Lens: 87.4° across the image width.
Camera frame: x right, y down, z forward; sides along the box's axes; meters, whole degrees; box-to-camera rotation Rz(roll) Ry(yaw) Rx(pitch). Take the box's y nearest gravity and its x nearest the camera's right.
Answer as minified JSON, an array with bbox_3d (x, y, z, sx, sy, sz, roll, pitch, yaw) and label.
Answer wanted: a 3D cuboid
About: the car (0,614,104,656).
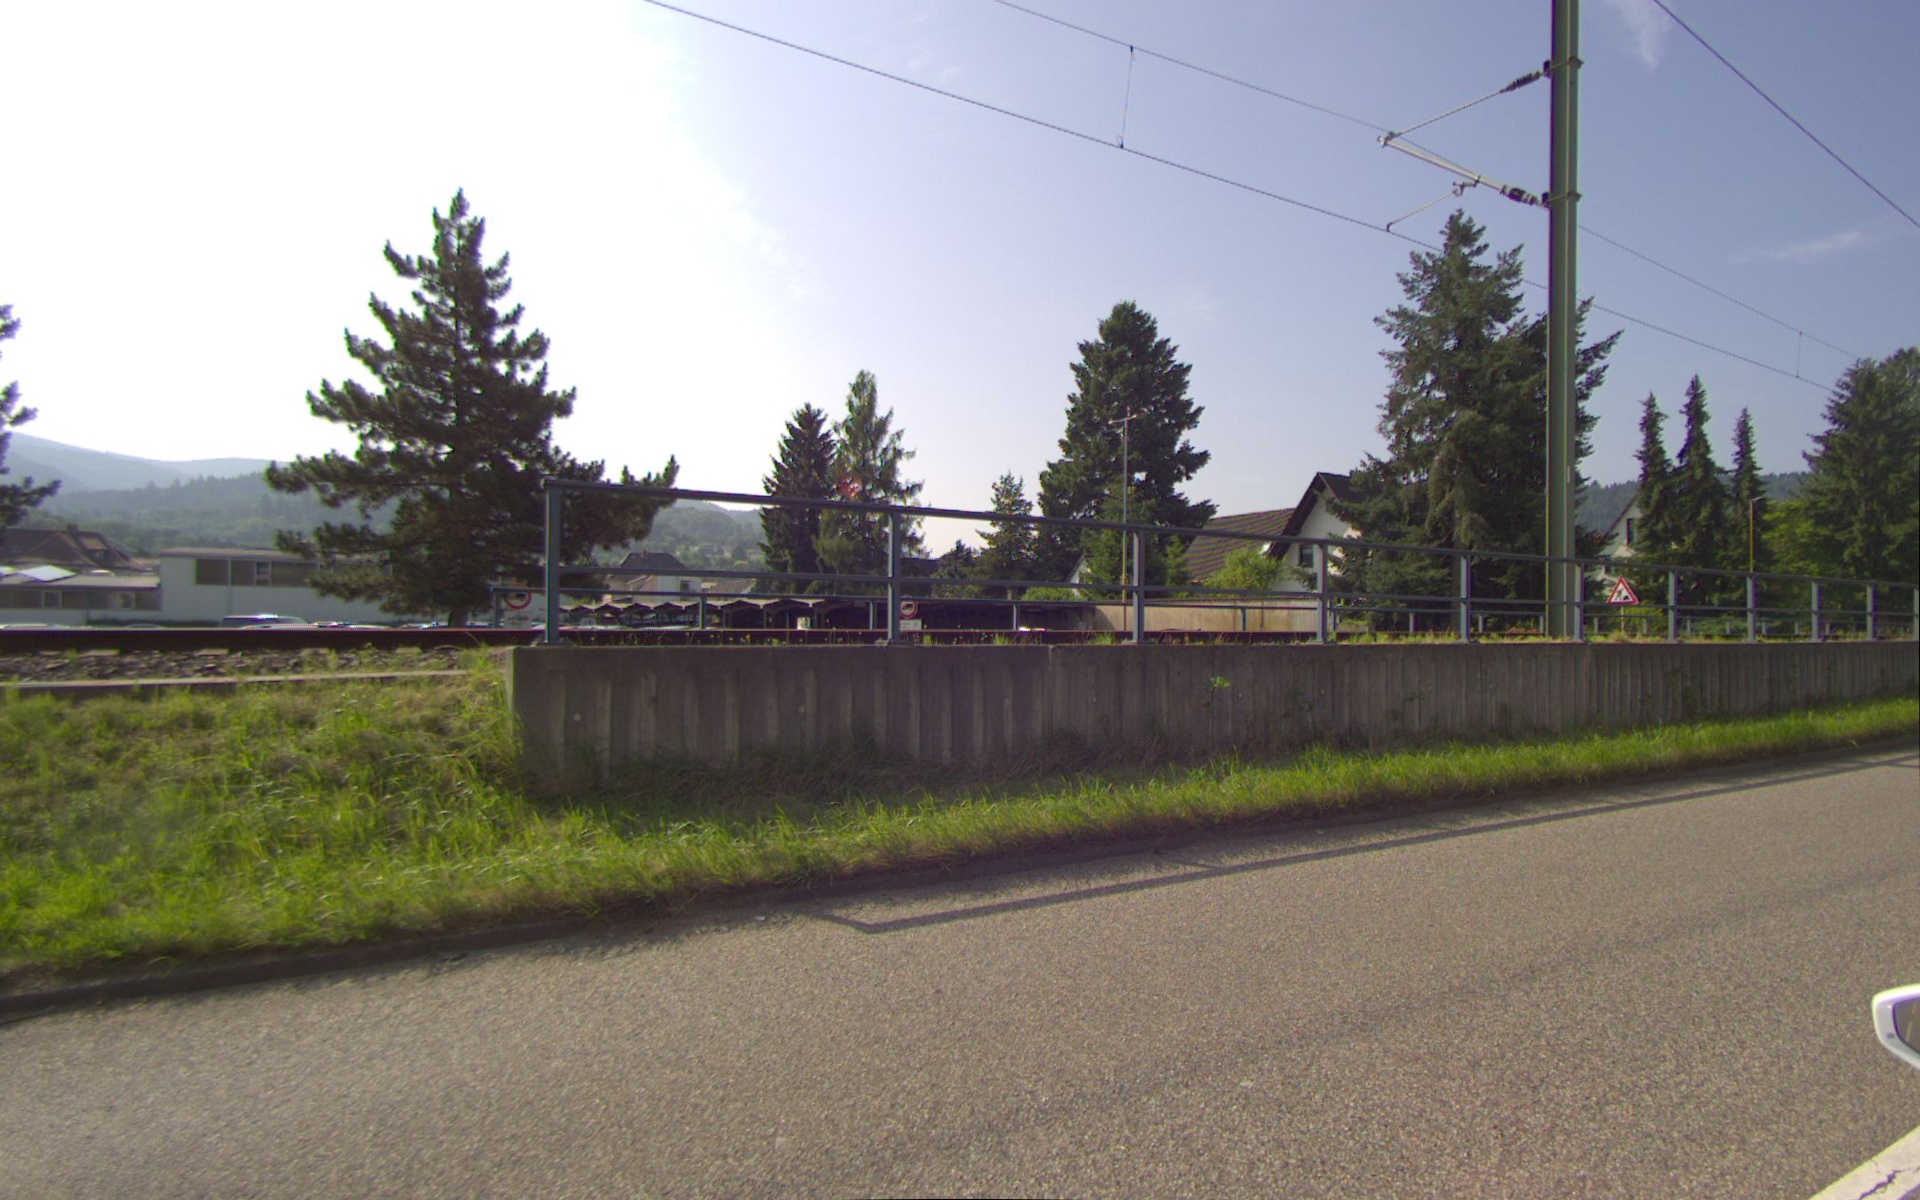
[{"bbox_3d":[-31.278,1.173,34.006,1.428,1.342,3.538,0,-2,3],"label":"car"}]

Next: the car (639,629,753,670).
[{"bbox_3d":[-9.065,1.702,34.593,3.465,1.342,1.458,0,-2,7],"label":"car"}]

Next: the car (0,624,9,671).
[{"bbox_3d":[-27.782,1.276,26.746,1.428,1.342,3.538,0,-2,2],"label":"car"}]

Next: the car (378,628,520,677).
[{"bbox_3d":[-15.011,1.529,29.564,3.465,1.342,1.458,0,-2,7],"label":"car"}]

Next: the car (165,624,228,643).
[{"bbox_3d":[-54.216,2.389,71.400,3.403,1.342,1.434,2,-2,-31],"label":"car"}]

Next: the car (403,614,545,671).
[{"bbox_3d":[-15.460,1.350,32.056,3.729,1.710,1.647,0,-2,6],"label":"car"}]

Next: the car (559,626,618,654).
[{"bbox_3d":[-18.917,2.019,51.116,3.488,1.342,1.449,-1,-3,44],"label":"car"}]

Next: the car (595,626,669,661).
[{"bbox_3d":[-13.202,1.729,40.335,1.447,1.342,3.491,2,-3,-43],"label":"car"}]

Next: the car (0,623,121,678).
[{"bbox_3d":[-23.859,1.267,25.875,1.428,1.342,3.538,0,-2,2],"label":"car"}]

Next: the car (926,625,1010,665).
[{"bbox_3d":[0.316,2.053,46.369,1.802,1.688,3.956,2,-1,-38],"label":"car"}]

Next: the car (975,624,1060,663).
[{"bbox_3d":[2.661,2.022,47.231,1.802,1.688,3.956,2,-1,-38],"label":"car"}]

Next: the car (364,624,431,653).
[{"bbox_3d":[-26.826,1.827,48.026,1.429,1.342,3.535,1,-2,-4],"label":"car"}]

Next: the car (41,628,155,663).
[{"bbox_3d":[-34.703,1.819,40.568,1.428,1.342,3.538,0,-2,3],"label":"car"}]

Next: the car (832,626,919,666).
[{"bbox_3d":[-3.641,1.926,42.838,1.802,1.557,3.956,2,-1,-38],"label":"car"}]
